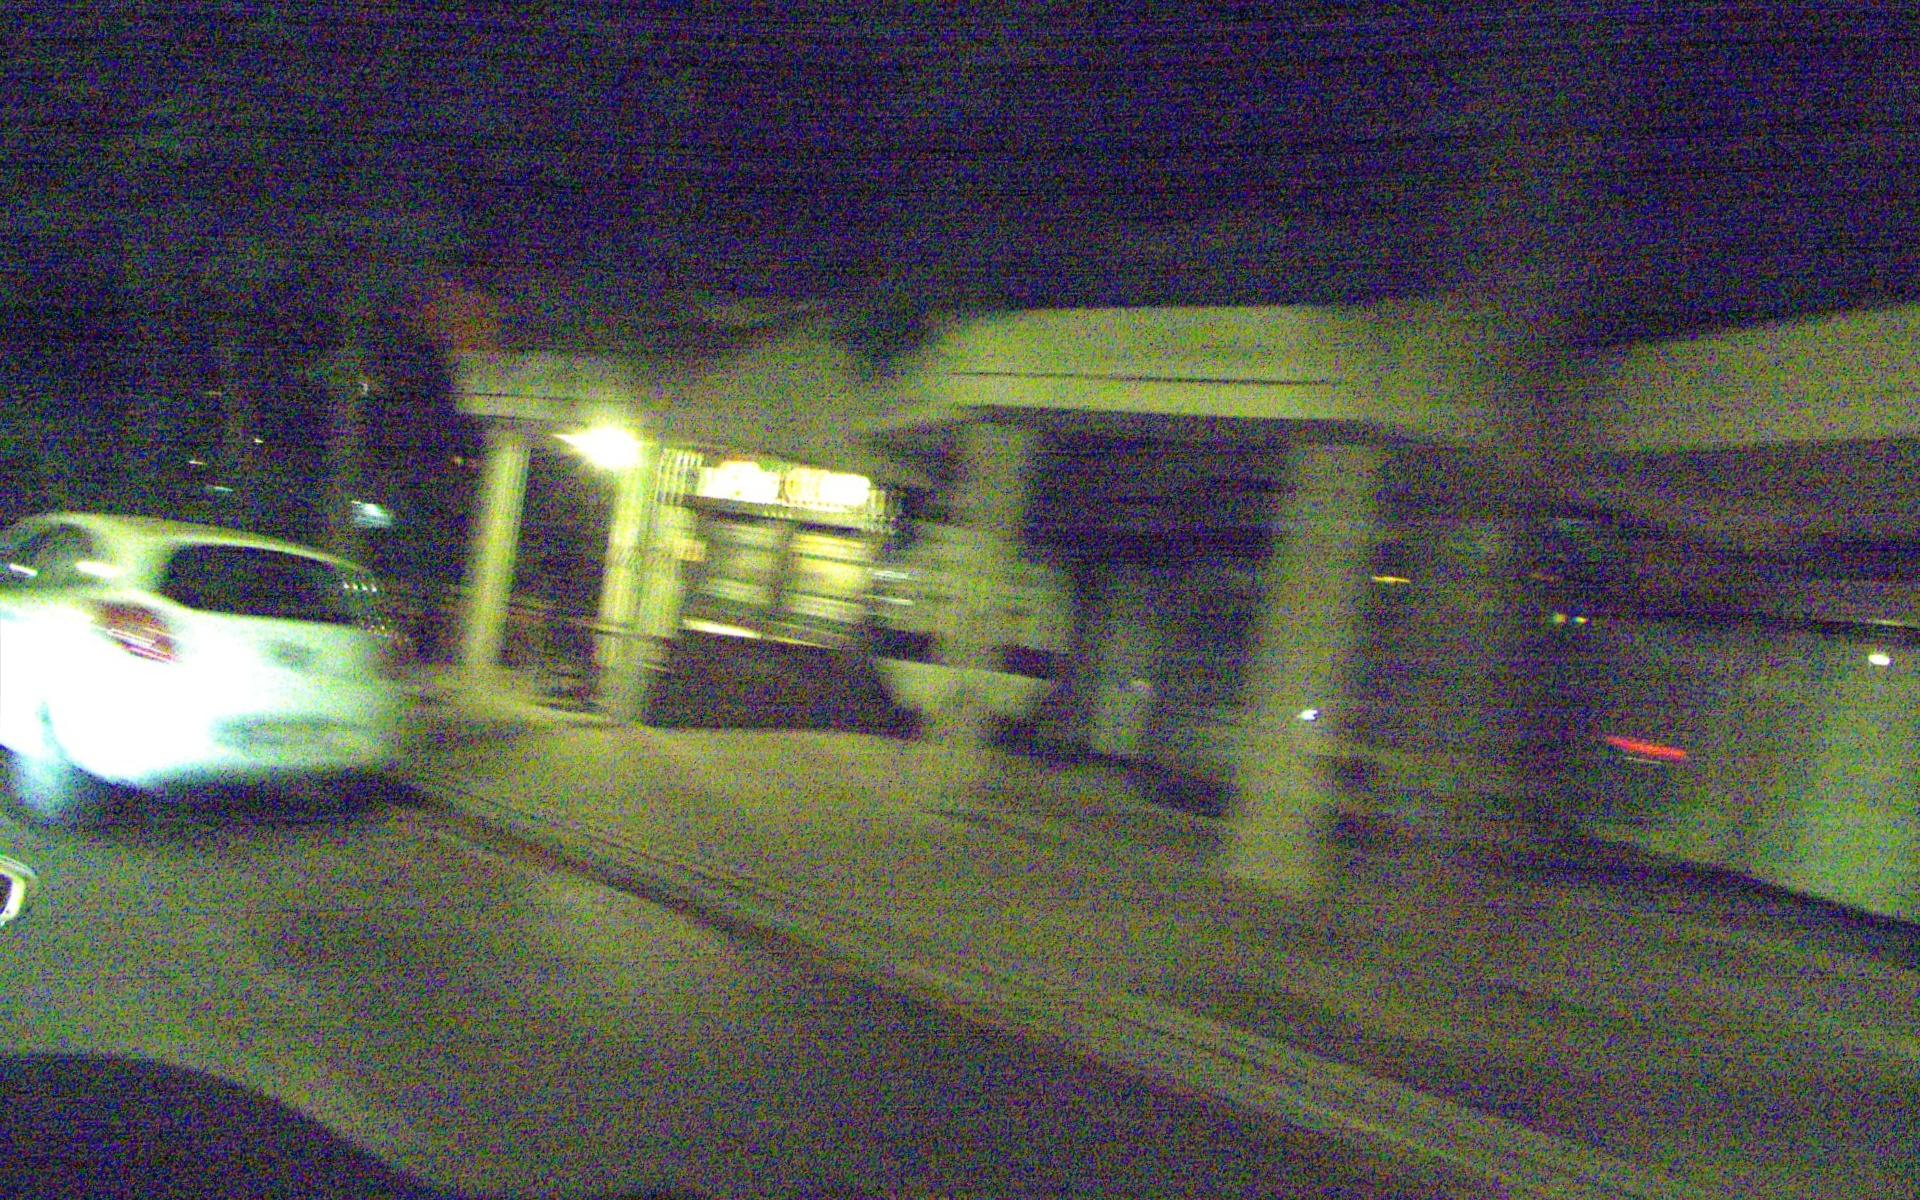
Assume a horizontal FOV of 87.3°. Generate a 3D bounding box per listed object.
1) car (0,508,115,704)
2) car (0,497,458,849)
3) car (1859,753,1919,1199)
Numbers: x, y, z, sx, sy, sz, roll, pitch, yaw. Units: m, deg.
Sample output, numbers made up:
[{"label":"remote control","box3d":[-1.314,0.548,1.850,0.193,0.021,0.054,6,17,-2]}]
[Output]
[{"label":"car","box3d":[-9.098,-0.191,8.329,4.365,1.432,1.766,7,-2,31]},{"label":"car","box3d":[-4.975,0.258,6.065,3.713,1.483,1.642,7,-2,32]},{"label":"car","box3d":[3.504,1.220,0.718,3.932,1.464,1.680,7,-1,30]}]
